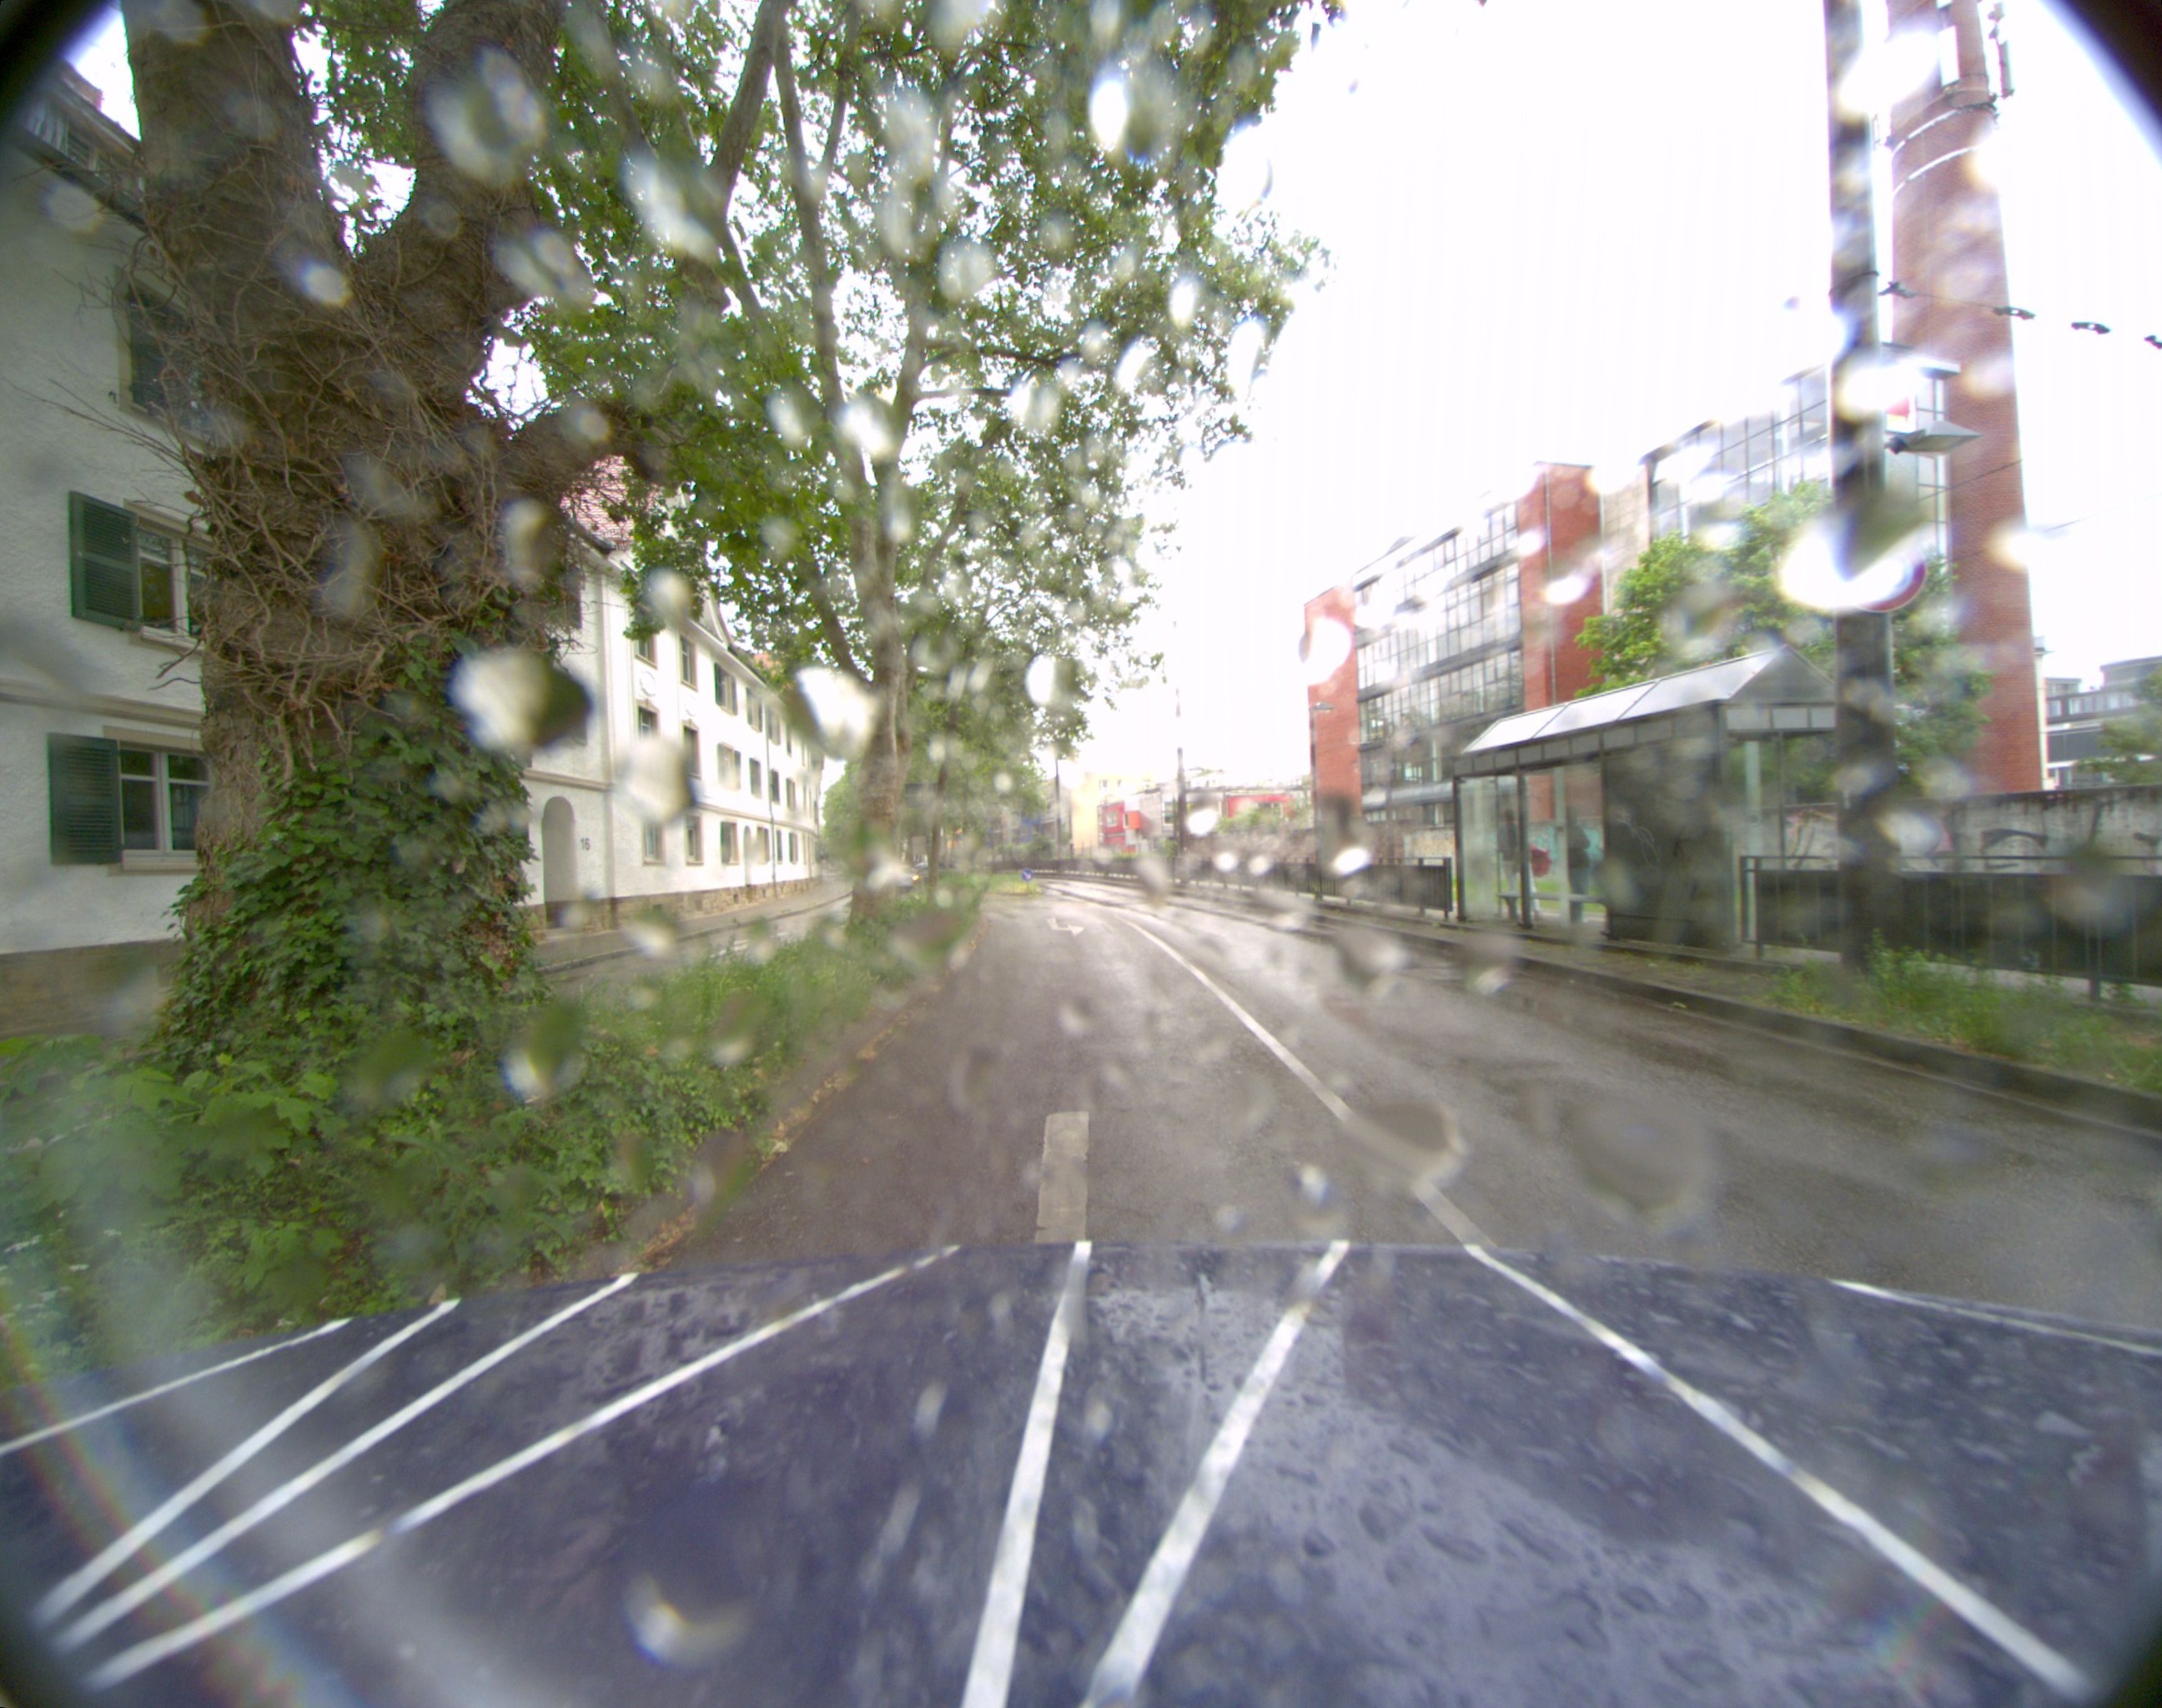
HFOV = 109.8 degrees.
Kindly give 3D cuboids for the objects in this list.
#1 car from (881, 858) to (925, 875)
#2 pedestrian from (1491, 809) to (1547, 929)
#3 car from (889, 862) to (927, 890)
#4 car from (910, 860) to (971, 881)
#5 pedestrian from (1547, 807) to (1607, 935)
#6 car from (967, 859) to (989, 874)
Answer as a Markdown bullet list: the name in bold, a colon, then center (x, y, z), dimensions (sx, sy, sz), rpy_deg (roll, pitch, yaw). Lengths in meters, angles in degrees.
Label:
- **car**: center (-22.184, 1.596, 94.875), dimensions (4.884, 2.002, 2.002), rpy_deg (-1, 0, 11)
- **pedestrian**: center (6.522, 0.215, 11.317), dimensions (0.584, 1.721, 0.566), rpy_deg (-1, 1, -41)
- **car**: center (-10.681, 1.297, 46.689), dimensions (1.853, 1.586, 4.210), rpy_deg (-2, 0, -17)
- **car**: center (-10.927, 1.281, 59.042), dimensions (4.224, 1.532, 1.932), rpy_deg (-1, 0, 11)
- **pedestrian**: center (6.910, 0.226, 10.580), dimensions (0.584, 1.721, 0.566), rpy_deg (-1, 1, -43)
- **car**: center (-11.853, 1.390, 87.156), dimensions (1.694, 1.713, 3.685), rpy_deg (-1, 0, -20)
